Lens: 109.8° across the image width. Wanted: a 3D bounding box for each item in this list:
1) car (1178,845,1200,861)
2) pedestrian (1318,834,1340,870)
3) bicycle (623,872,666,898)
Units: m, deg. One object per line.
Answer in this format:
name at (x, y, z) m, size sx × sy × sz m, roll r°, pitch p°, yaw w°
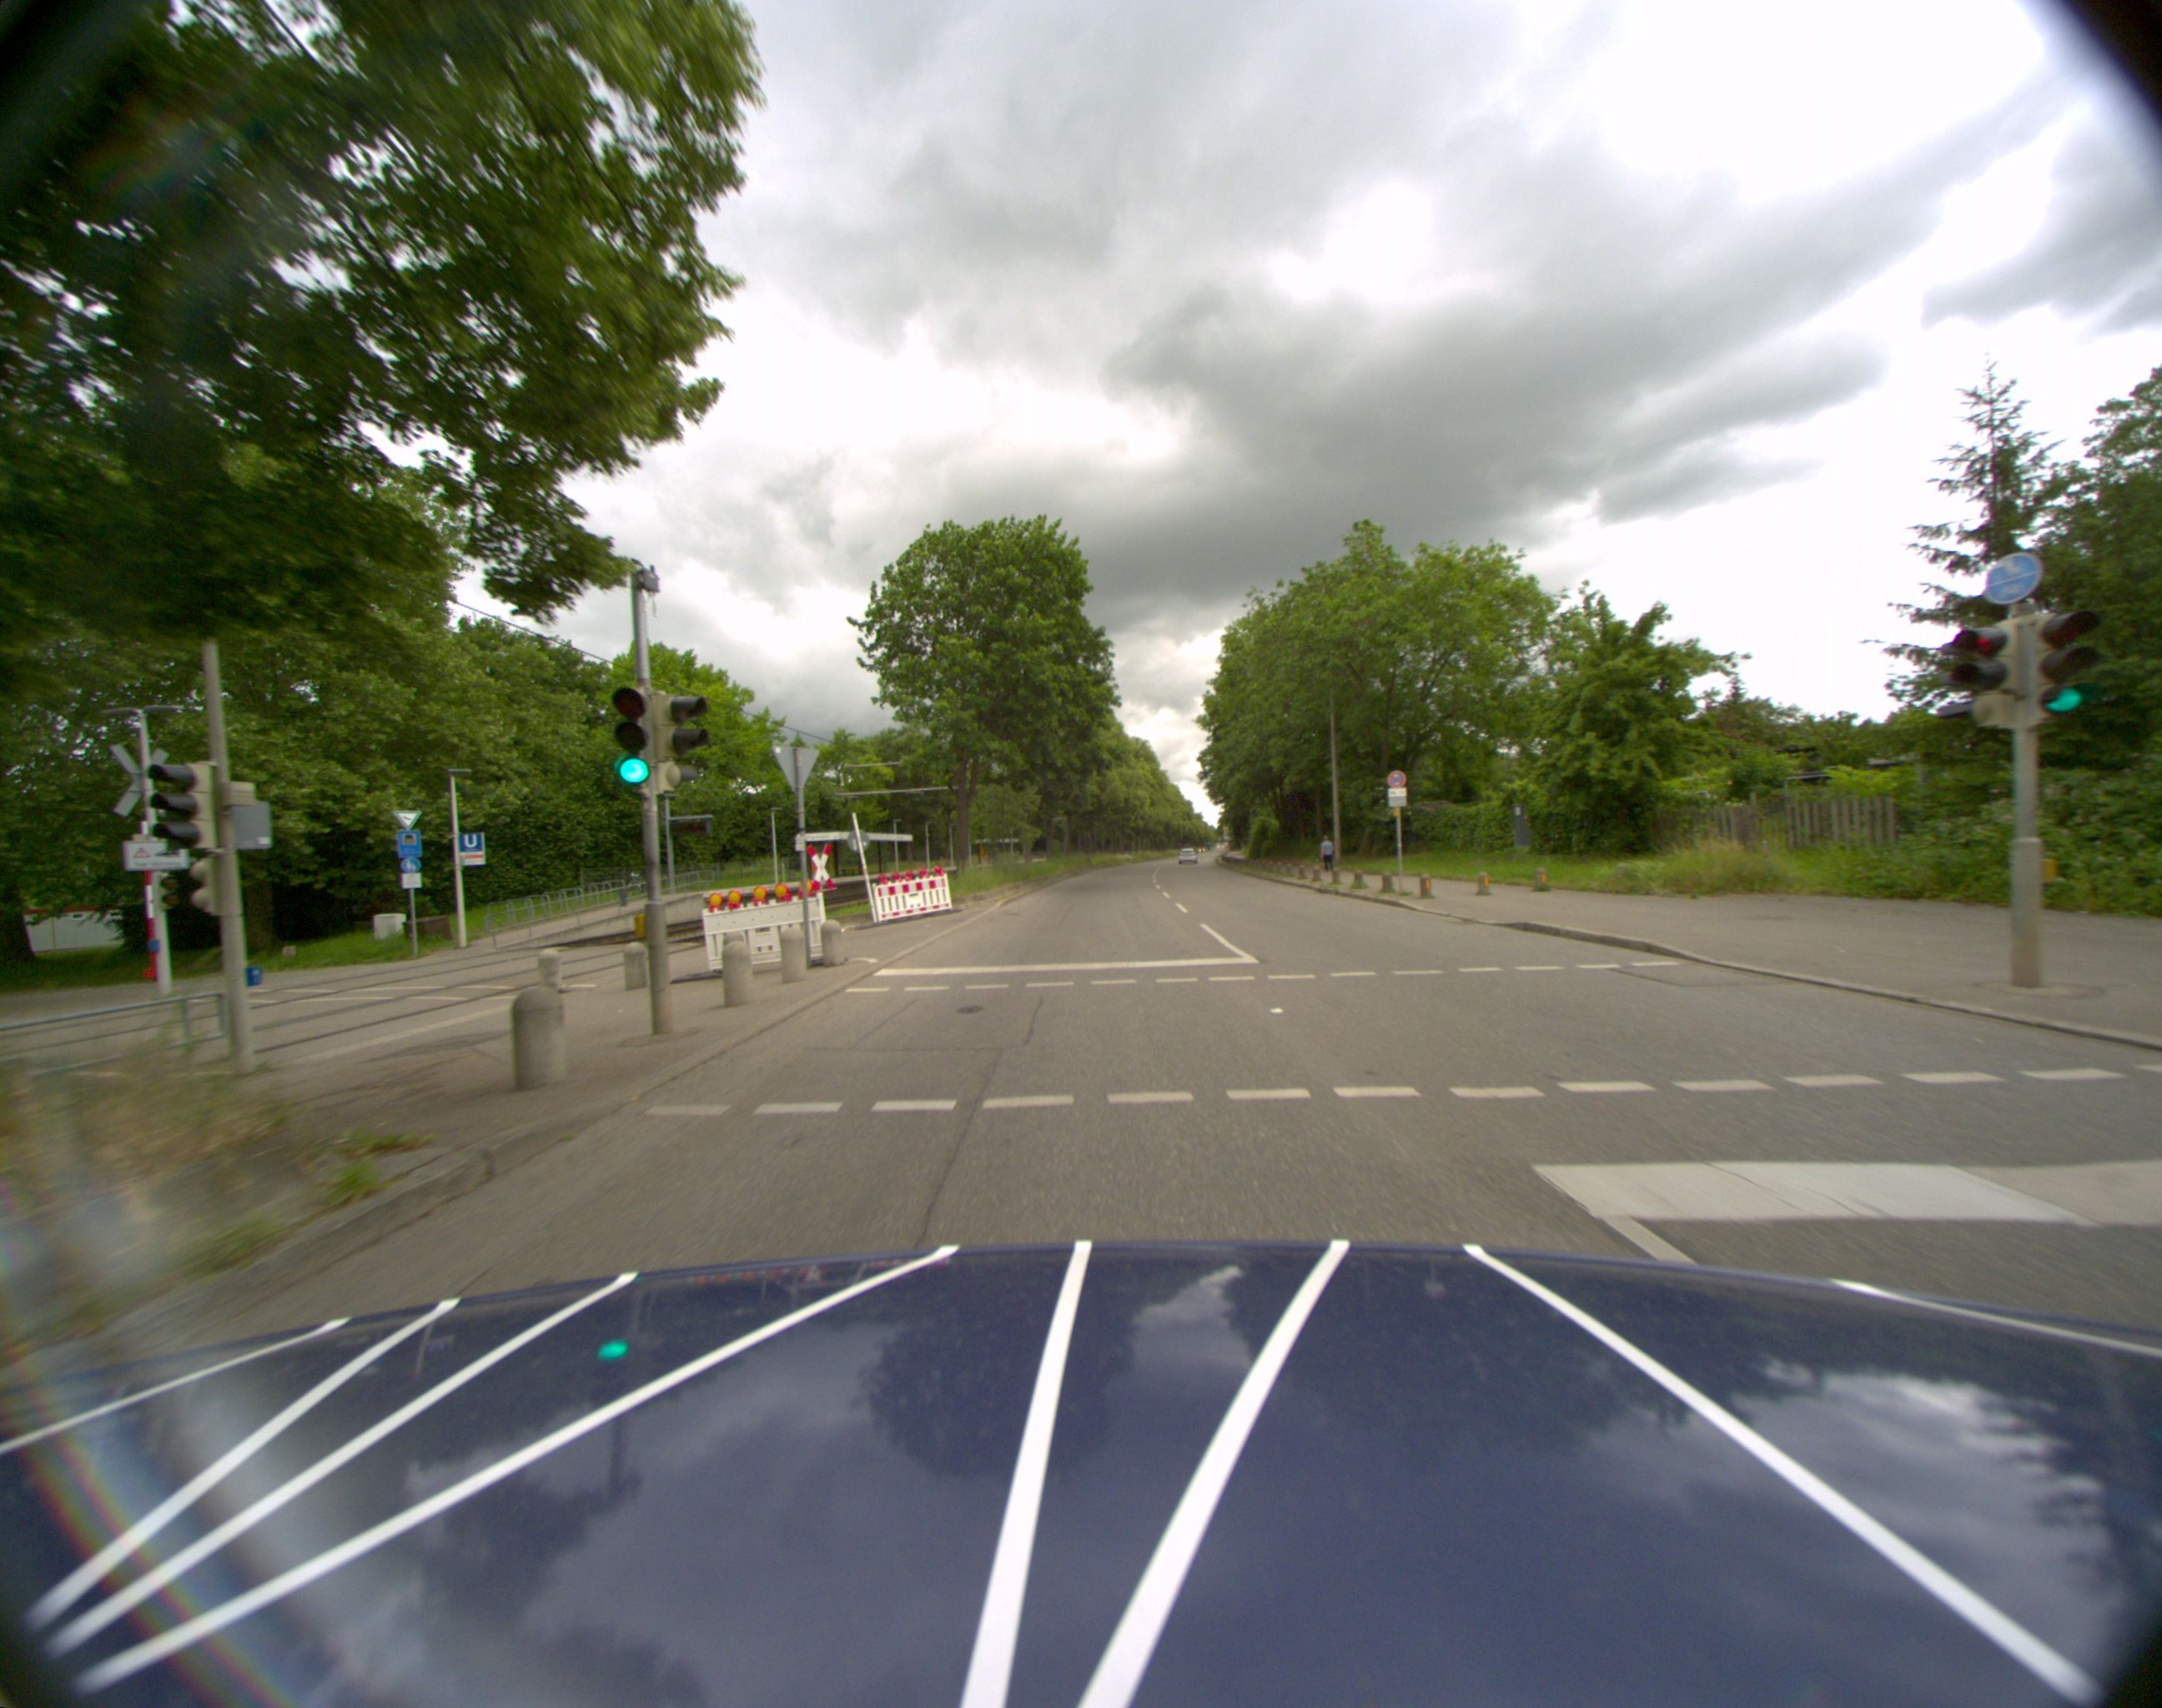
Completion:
car at (10.725, -0.117, 75.715) m, size 1.777 × 1.431 × 4.362 m, roll -1°, pitch 0°, yaw 4°
pedestrian at (11.659, -0.085, 35.767) m, size 0.691 × 1.624 × 0.838 m, roll -4°, pitch 0°, yaw 6°
bicycle at (-18.466, 1.309, 32.149) m, size 1.512 × 0.968 × 0.450 m, roll -4°, pitch 0°, yaw 3°
